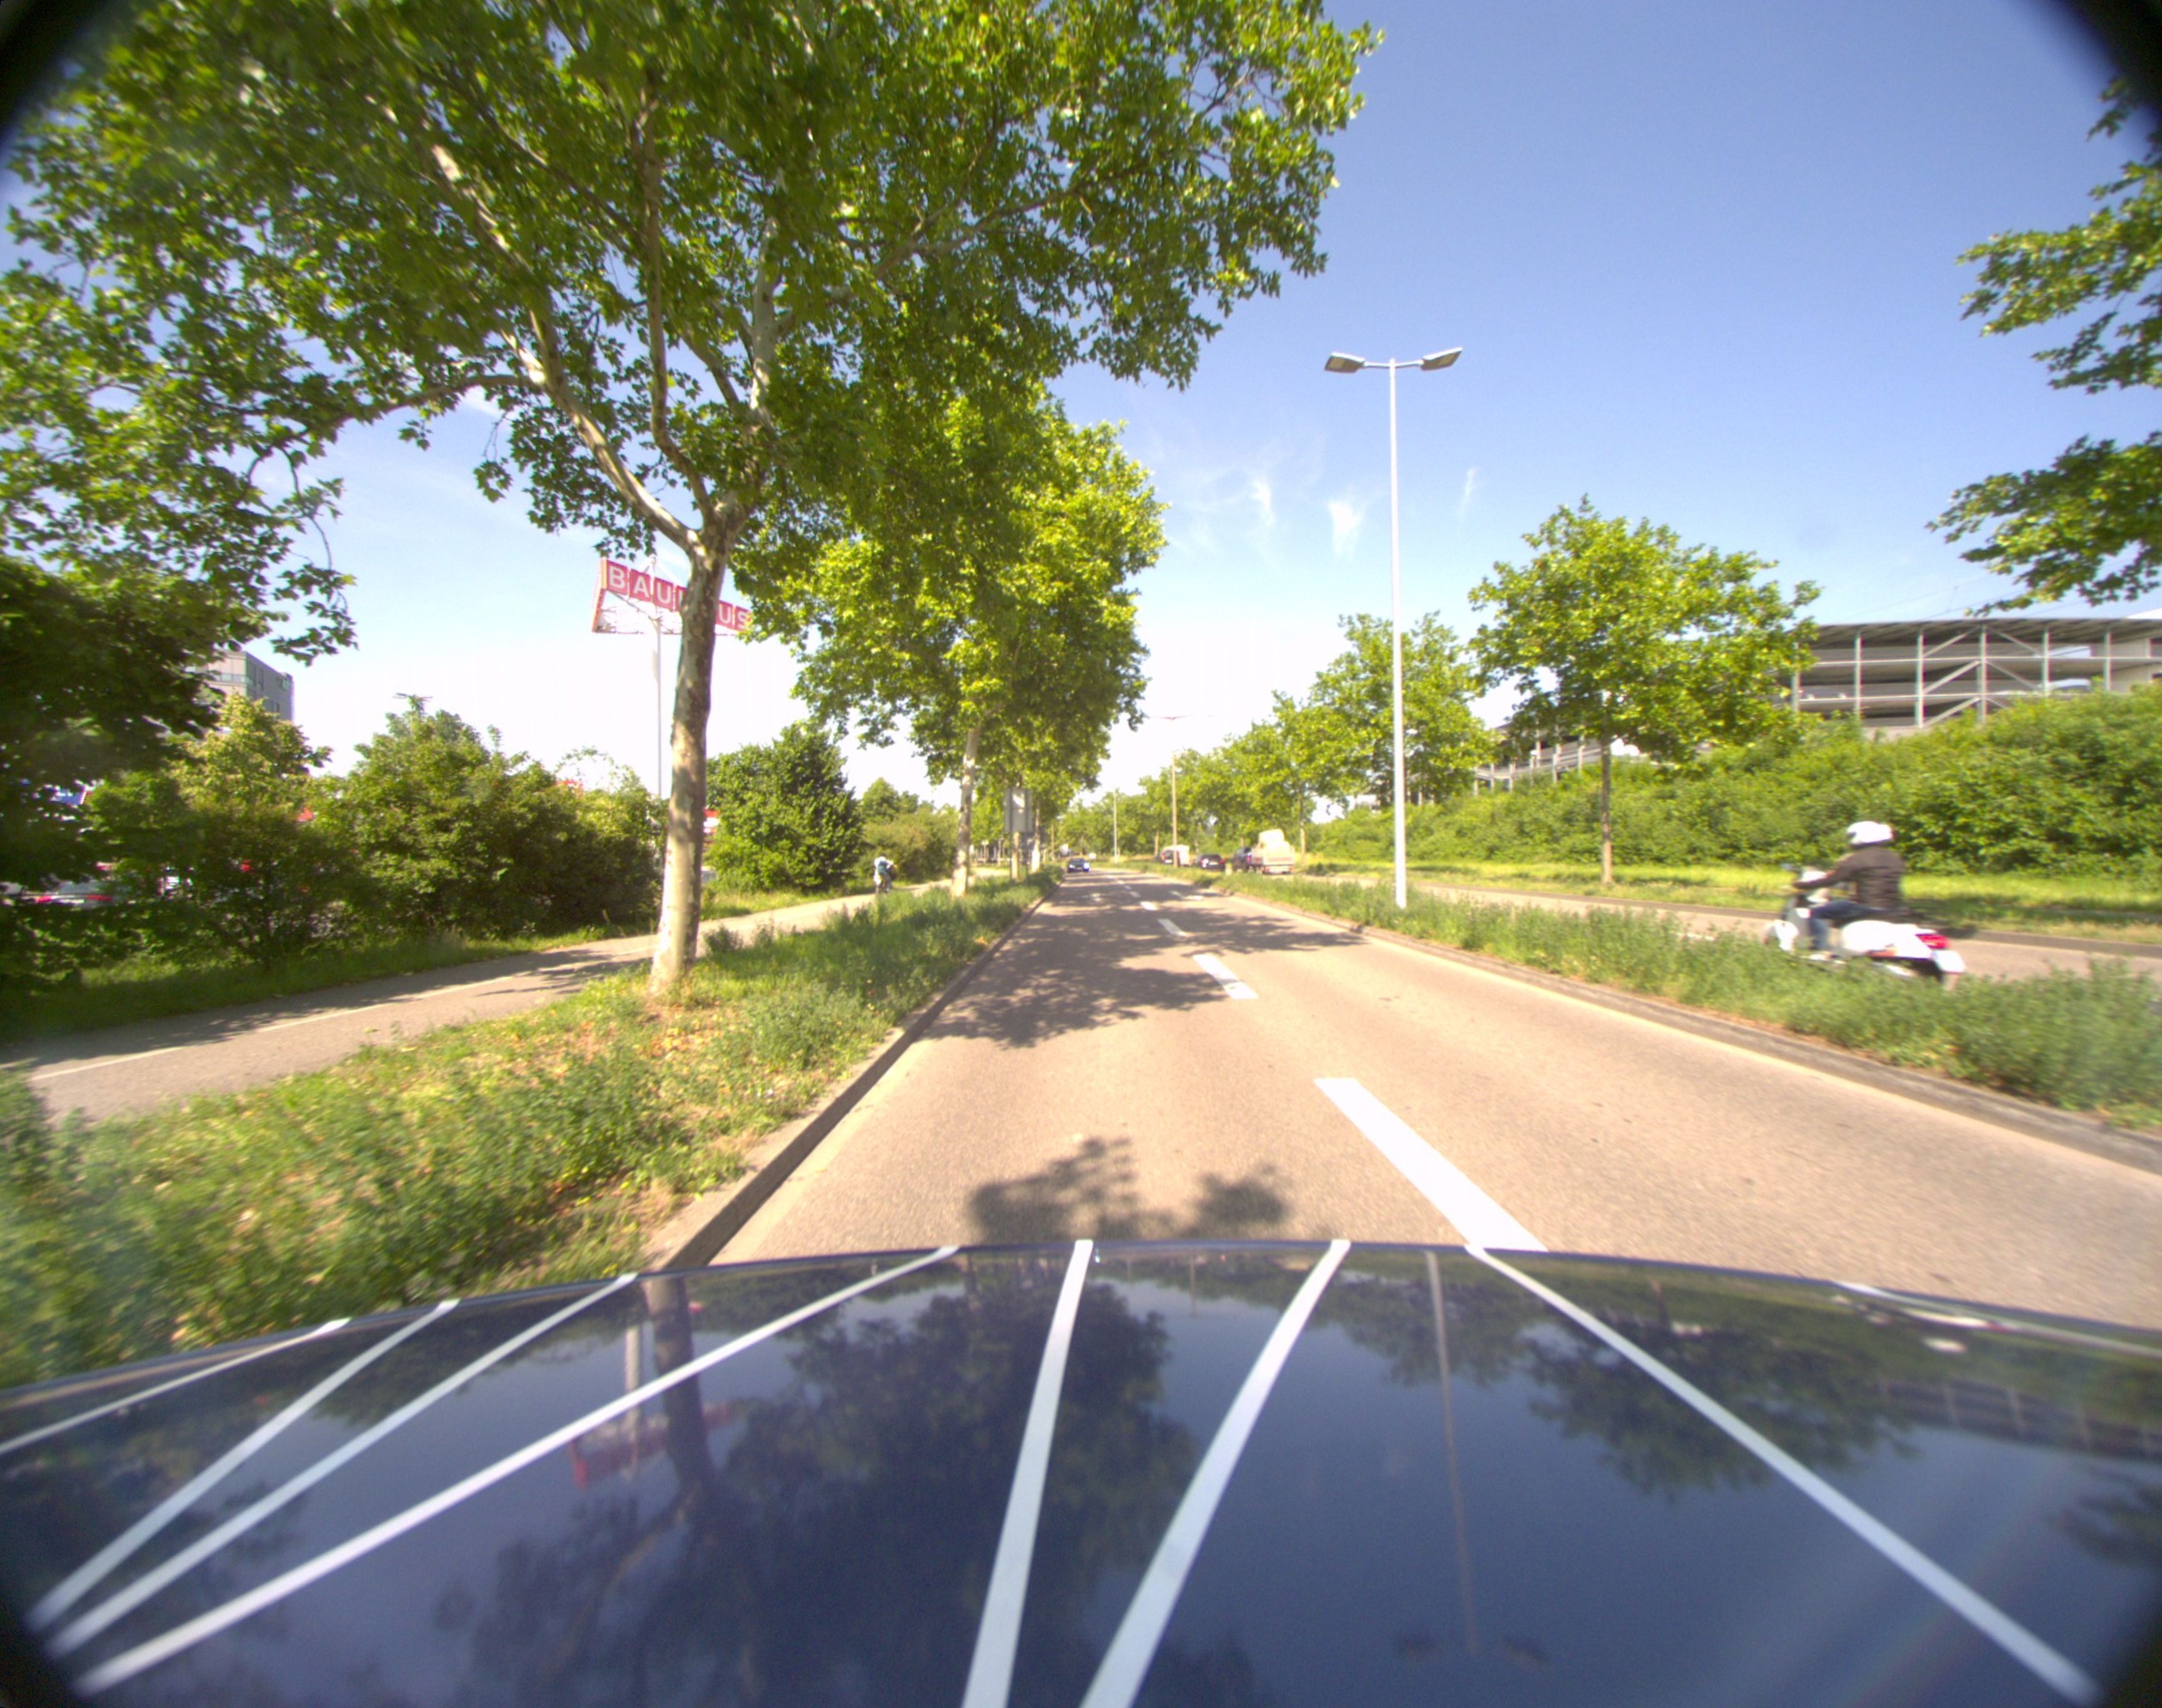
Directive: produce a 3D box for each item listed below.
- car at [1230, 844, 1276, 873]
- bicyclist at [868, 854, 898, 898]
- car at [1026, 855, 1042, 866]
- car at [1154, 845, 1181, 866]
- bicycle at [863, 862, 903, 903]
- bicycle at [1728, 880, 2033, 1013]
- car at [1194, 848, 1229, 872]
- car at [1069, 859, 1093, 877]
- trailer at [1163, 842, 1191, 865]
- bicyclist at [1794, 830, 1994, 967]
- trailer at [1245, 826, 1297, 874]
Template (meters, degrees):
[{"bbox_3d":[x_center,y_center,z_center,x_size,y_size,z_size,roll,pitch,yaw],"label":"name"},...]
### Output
[{"bbox_3d":[11.526,0.230,51.318,1.769,1.779,5.375,-3,1,0],"label":"car"},{"bbox_3d":[-6.867,0.741,26.350,0.706,1.468,1.009,-2,1,2],"label":"bicyclist"},{"bbox_3d":[-7.215,0.942,116.449,1.650,1.592,3.599,-2,0,-14],"label":"car"},{"bbox_3d":[7.813,0.100,68.892,1.735,1.799,4.230,-3,1,-3],"label":"car"},{"bbox_3d":[-6.842,0.953,26.349,0.724,1.291,2.095,-2,1,2],"label":"bicycle"},{"bbox_3d":[7.779,0.830,7.601,0.730,1.023,2.217,-3,1,1],"label":"bicycle"},{"bbox_3d":[8.672,0.349,50.590,1.607,1.463,3.789,-2,1,-1],"label":"car"},{"bbox_3d":[-0.026,1.243,68.578,1.722,1.575,3.752,-2,0,-7],"label":"car"},{"bbox_3d":[9.910,-0.069,78.890,2.314,2.252,5.538,-1,1,2],"label":"trailer"},{"bbox_3d":[7.736,0.391,7.293,0.730,1.184,1.102,-3,1,1],"label":"bicyclist"},{"bbox_3d":[11.614,-0.265,46.725,1.885,2.728,4.827,-3,1,0],"label":"trailer"}]
